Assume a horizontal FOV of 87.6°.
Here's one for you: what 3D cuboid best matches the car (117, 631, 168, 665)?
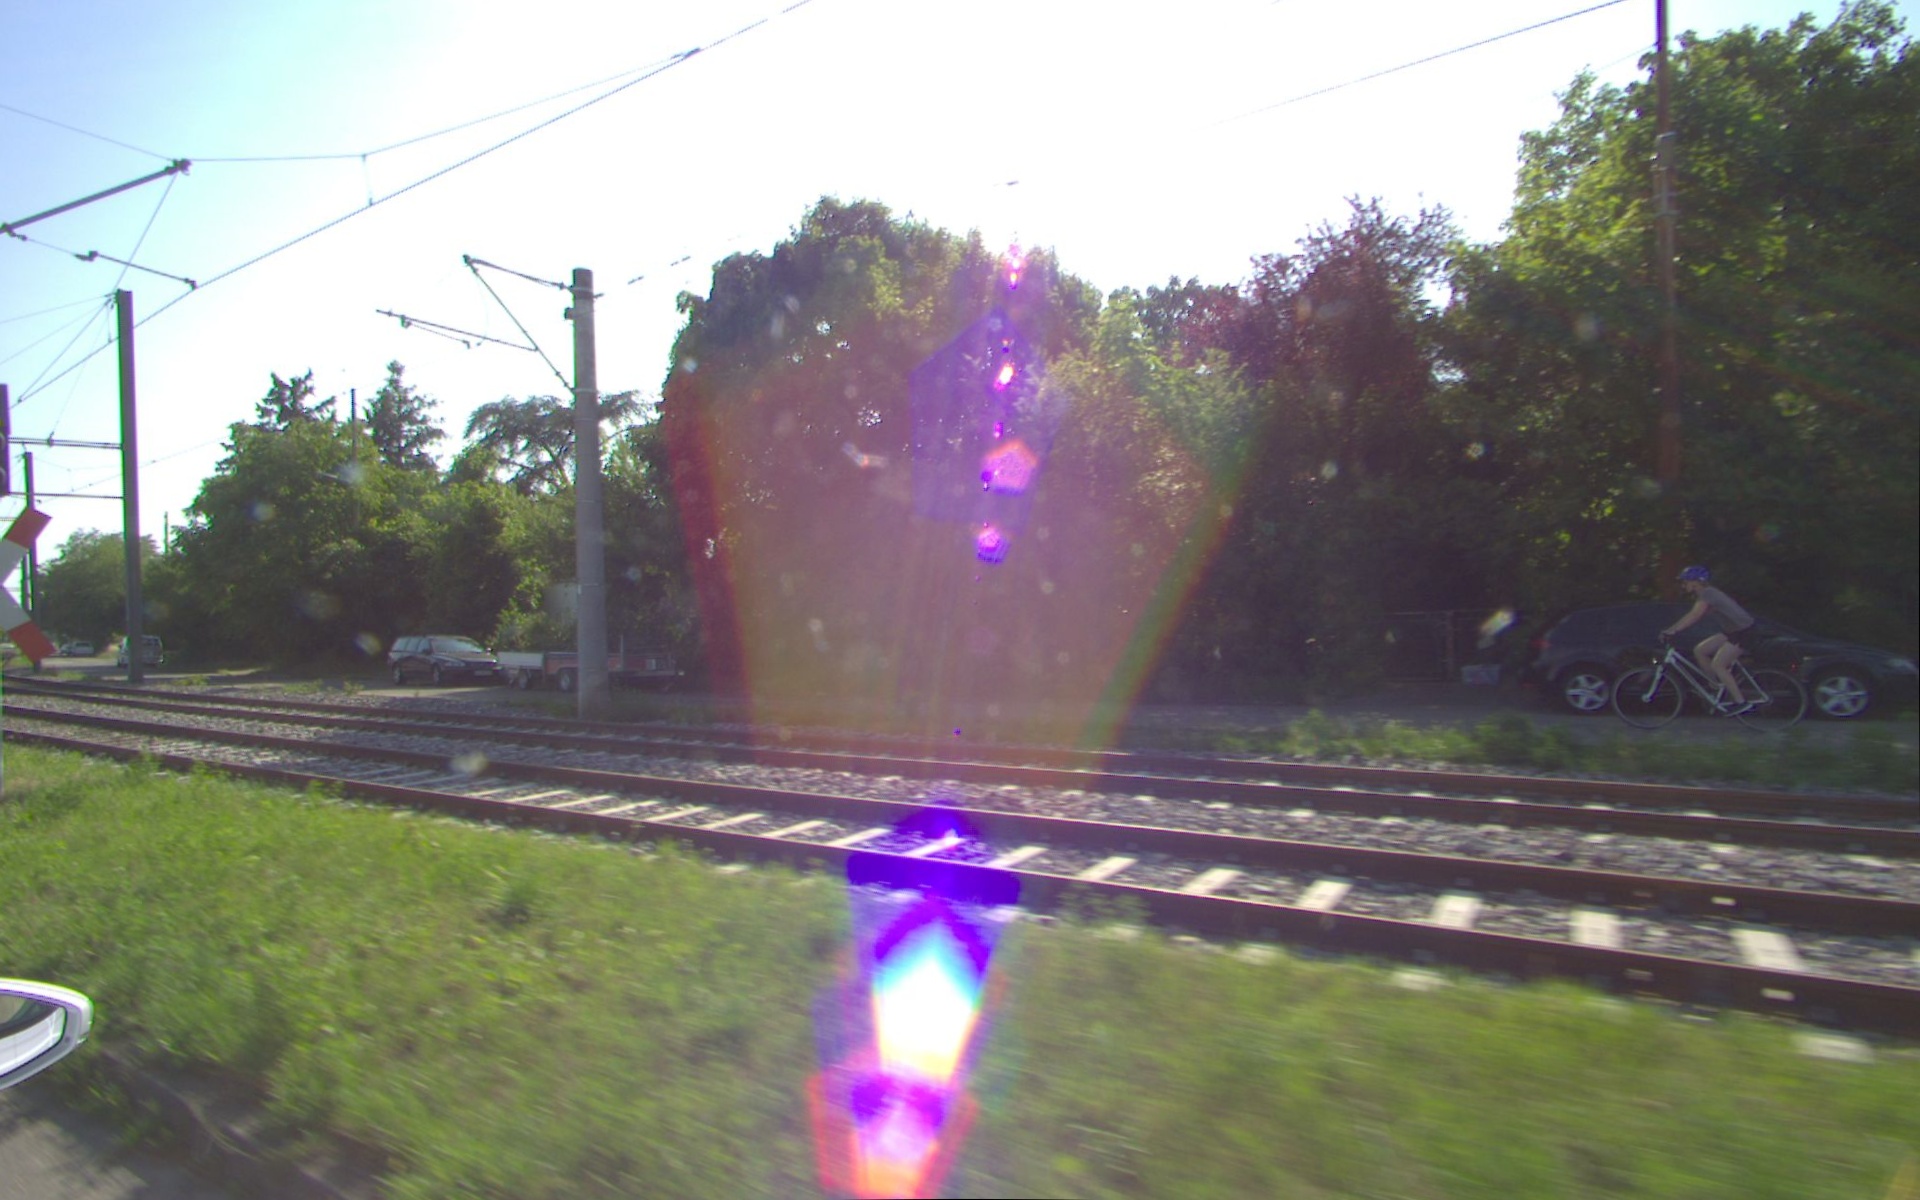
[{"bbox_3d":[-50.559,2.973,61.914,1.981,2.029,5.019,3,-4,-44],"label":"car"}]

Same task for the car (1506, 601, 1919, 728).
[{"bbox_3d":[9.574,0.797,12.880,4.453,1.428,1.621,-2,-2,29],"label":"car"}]

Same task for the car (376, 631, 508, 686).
[{"bbox_3d":[-15.148,1.671,29.174,4.823,1.474,1.692,-2,-3,40],"label":"car"}]

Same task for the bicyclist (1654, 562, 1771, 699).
[{"bbox_3d":[8.280,0.335,11.061,0.948,1.440,0.628,-1,-1,32],"label":"bicyclist"}]

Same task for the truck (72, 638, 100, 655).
[{"bbox_3d":[-101.657,5.435,116.507,2.190,1.842,5.873,0,-2,-44],"label":"truck"}]

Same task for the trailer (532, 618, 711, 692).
[{"bbox_3d":[-8.105,1.305,23.864,4.206,1.616,2.021,-2,-3,37],"label":"trailer"}]

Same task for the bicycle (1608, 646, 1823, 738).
[{"bbox_3d":[8.272,0.983,11.069,1.817,0.921,0.641,-2,-1,32],"label":"bicycle"}]

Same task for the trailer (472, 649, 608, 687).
[{"bbox_3d":[-11.140,1.772,26.463,3.682,0.951,1.726,-2,-4,38],"label":"trailer"}]
